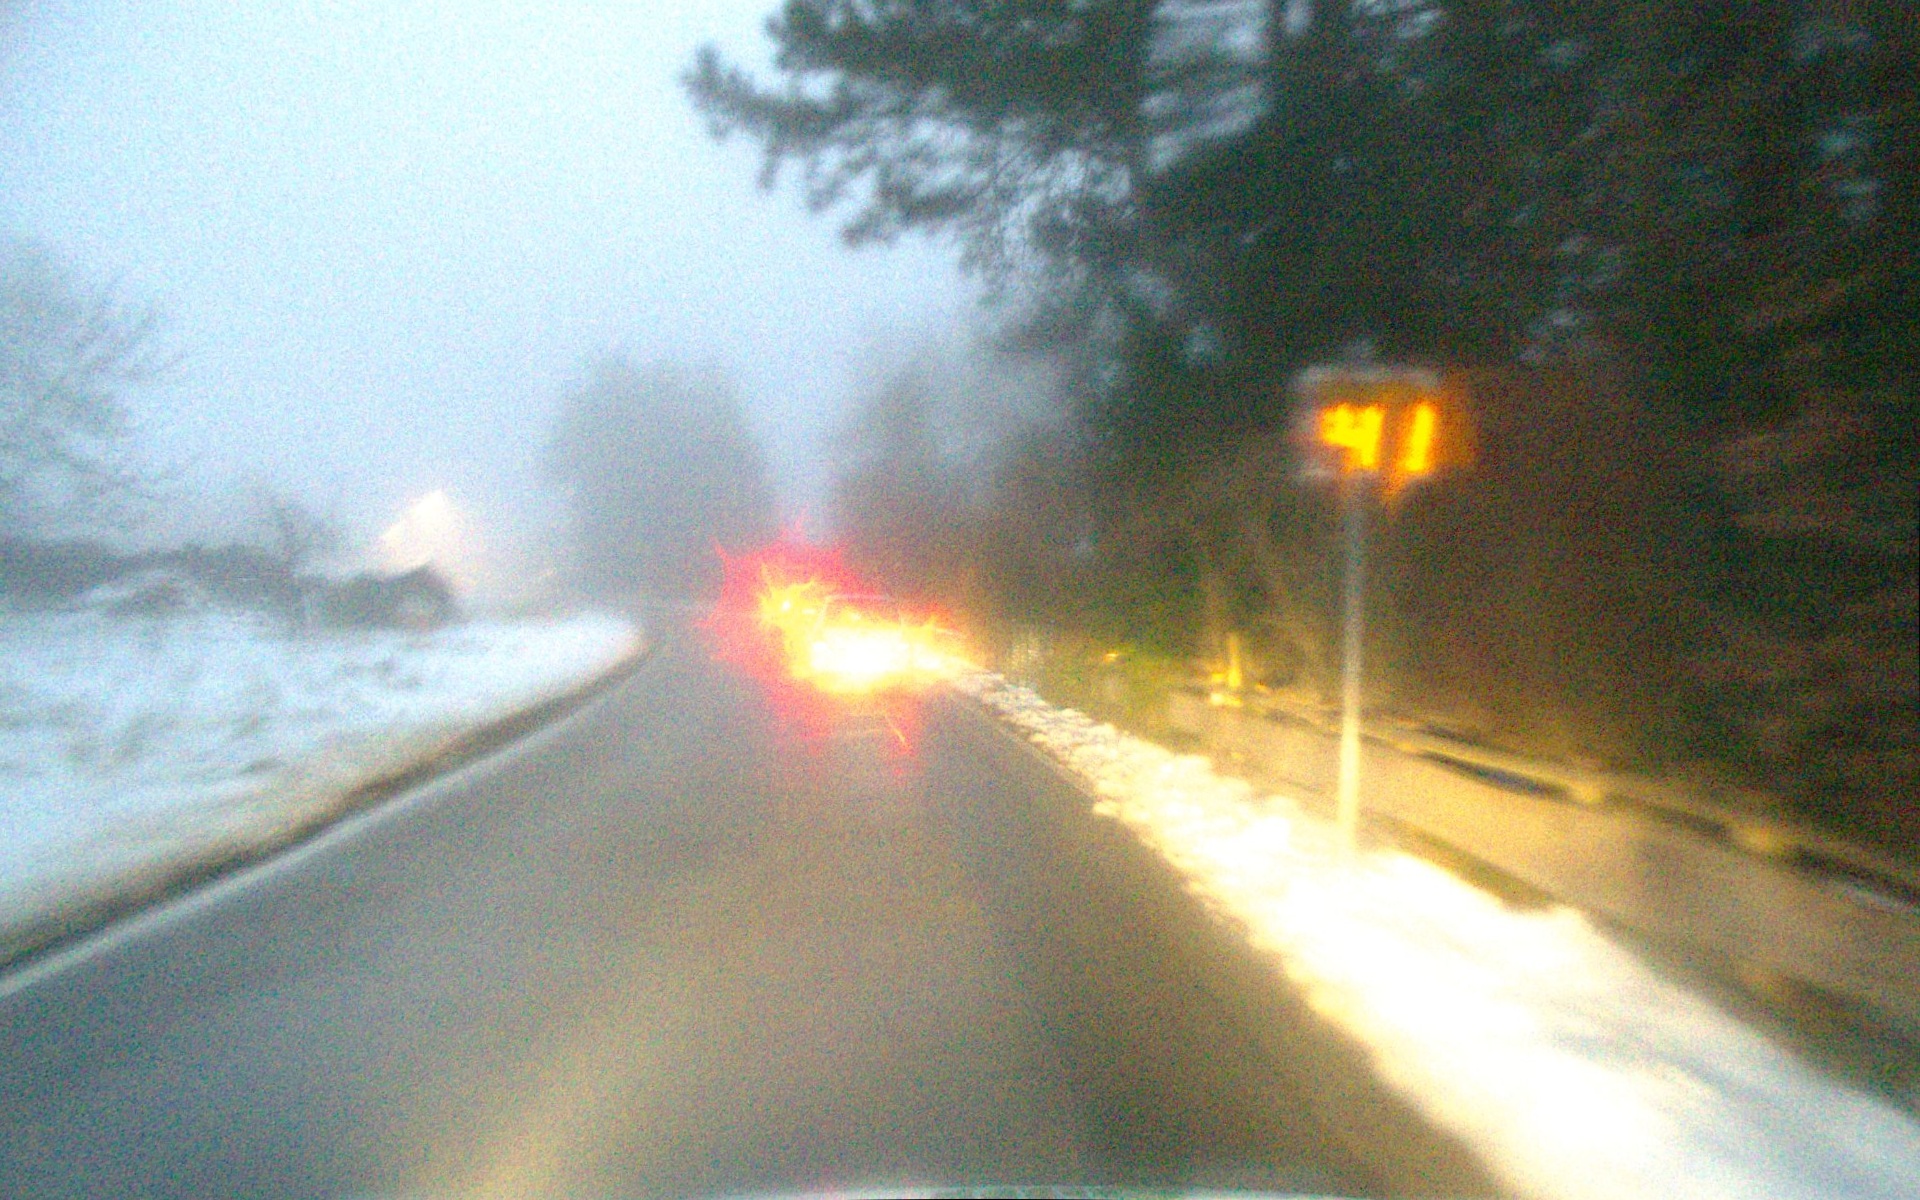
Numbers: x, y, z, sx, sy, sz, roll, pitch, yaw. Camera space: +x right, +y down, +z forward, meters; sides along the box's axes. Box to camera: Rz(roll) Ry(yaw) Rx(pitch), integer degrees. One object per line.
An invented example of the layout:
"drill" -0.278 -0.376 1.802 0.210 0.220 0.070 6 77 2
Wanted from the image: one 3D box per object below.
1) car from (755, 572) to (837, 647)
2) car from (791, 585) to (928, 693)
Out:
"car" -4.154 0.239 42.192 1.955 1.780 3.996 1 0 -5
"car" -1.549 0.578 25.959 1.954 1.534 3.997 1 0 -3
